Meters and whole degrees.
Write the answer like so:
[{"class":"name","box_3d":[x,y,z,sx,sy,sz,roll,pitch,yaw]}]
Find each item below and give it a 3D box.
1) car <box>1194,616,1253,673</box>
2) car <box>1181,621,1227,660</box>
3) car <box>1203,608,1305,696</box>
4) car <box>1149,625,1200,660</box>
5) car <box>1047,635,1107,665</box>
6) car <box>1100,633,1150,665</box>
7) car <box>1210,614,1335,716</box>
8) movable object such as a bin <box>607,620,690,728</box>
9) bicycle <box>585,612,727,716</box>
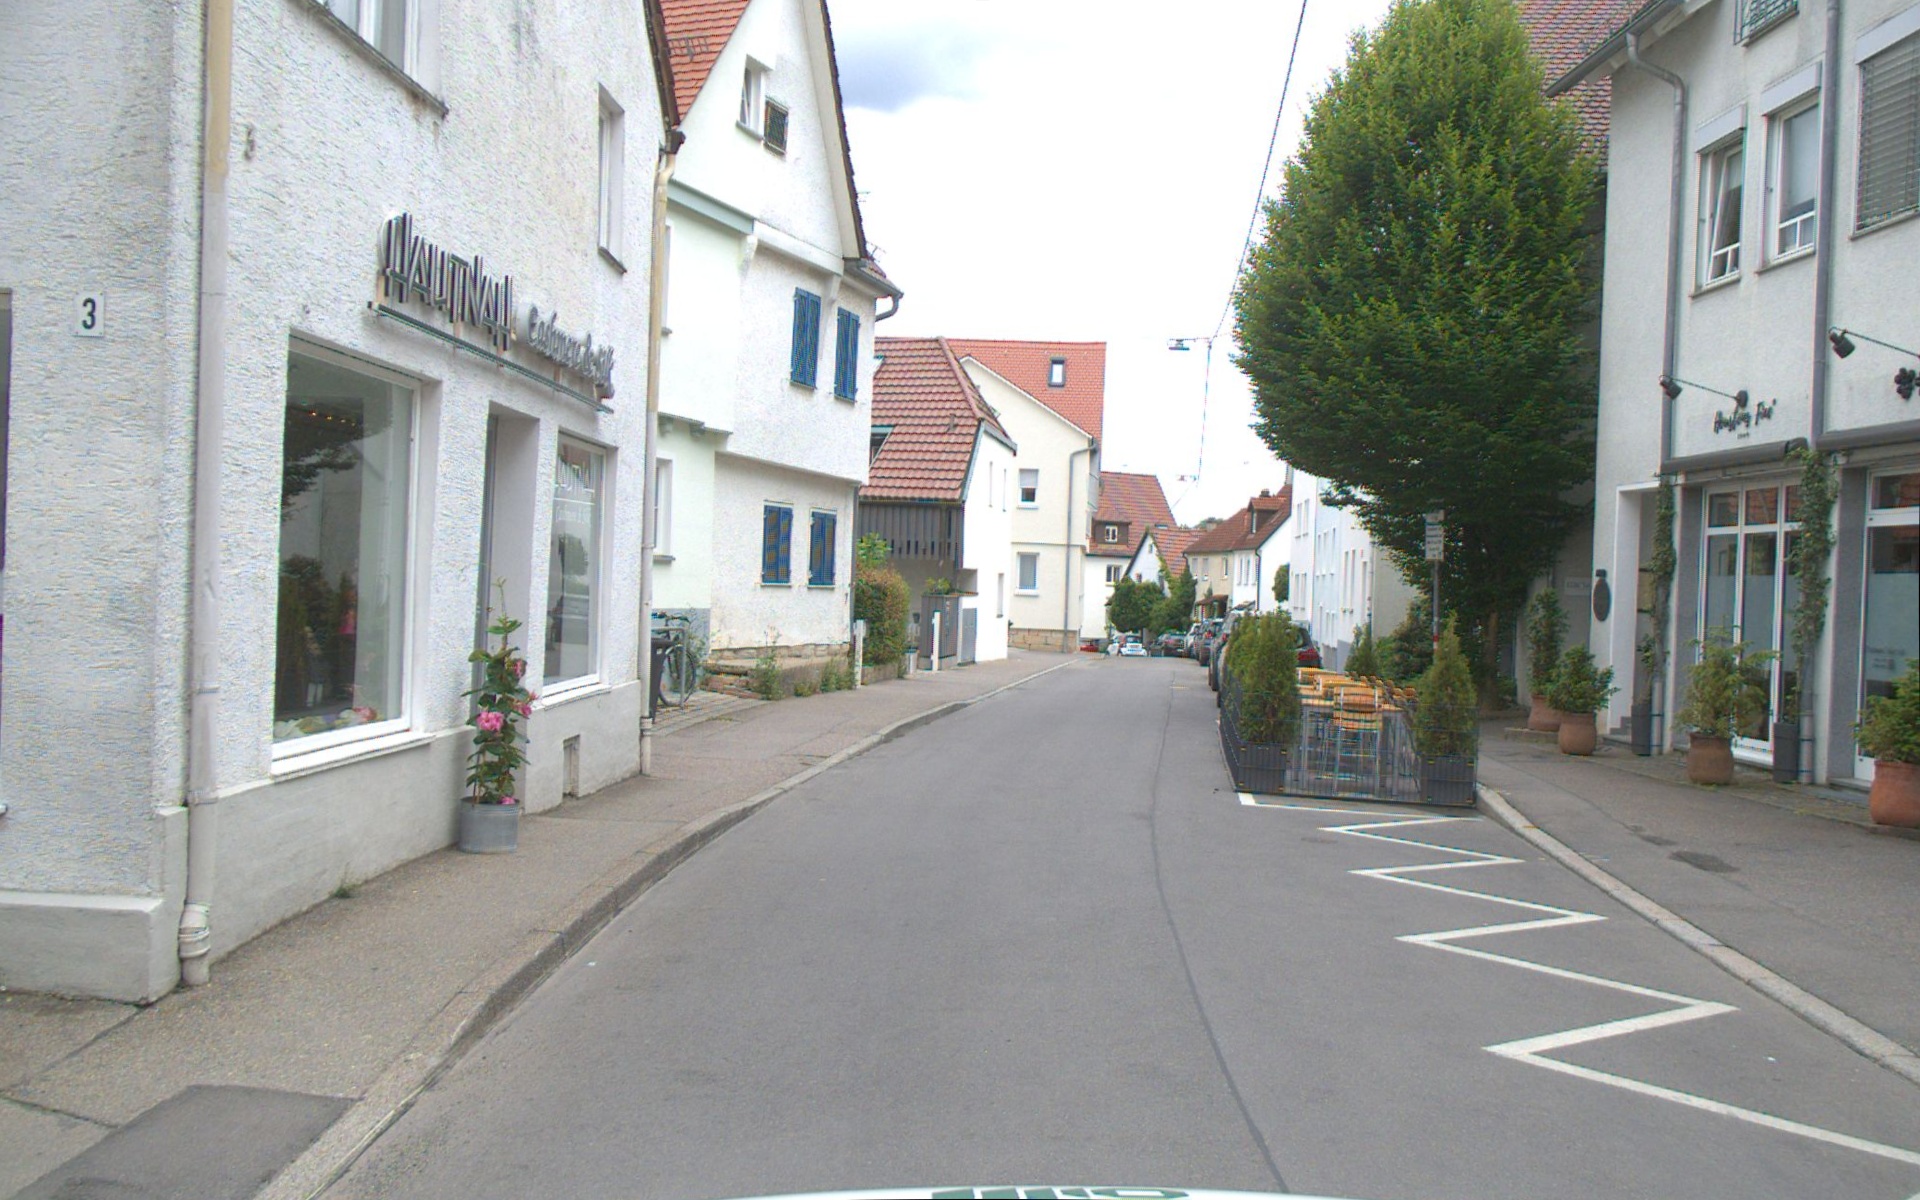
[{"class":"car","box_3d":[8.570,1.416,53.896,1.716,1.656,4.538,3,0,9]},{"class":"car","box_3d":[11.622,1.945,79.042,1.834,1.743,4.149,2,-2,5]},{"class":"car","box_3d":[6.143,1.053,34.981,1.823,1.662,4.904,2,-1,7]},{"class":"car","box_3d":[11.611,2.339,89.755,1.954,1.743,3.995,2,-3,-4]},{"class":"car","box_3d":[7.400,3.176,104.929,1.970,1.713,3.964,-3,-2,-27]},{"class":"car","box_3d":[9.863,2.915,99.062,1.927,1.743,3.991,3,0,-10]},{"class":"car","box_3d":[5.384,1.065,29.041,1.907,1.534,4.824,3,0,8]},{"class":"movable object such as a bin","box_3d":[-3.235,0.758,17.217,0.542,1.016,0.587,7,3,18]},{"class":"bicycle","box_3d":[-3.361,0.683,18.516,0.433,1.056,2.092,7,2,21]}]
